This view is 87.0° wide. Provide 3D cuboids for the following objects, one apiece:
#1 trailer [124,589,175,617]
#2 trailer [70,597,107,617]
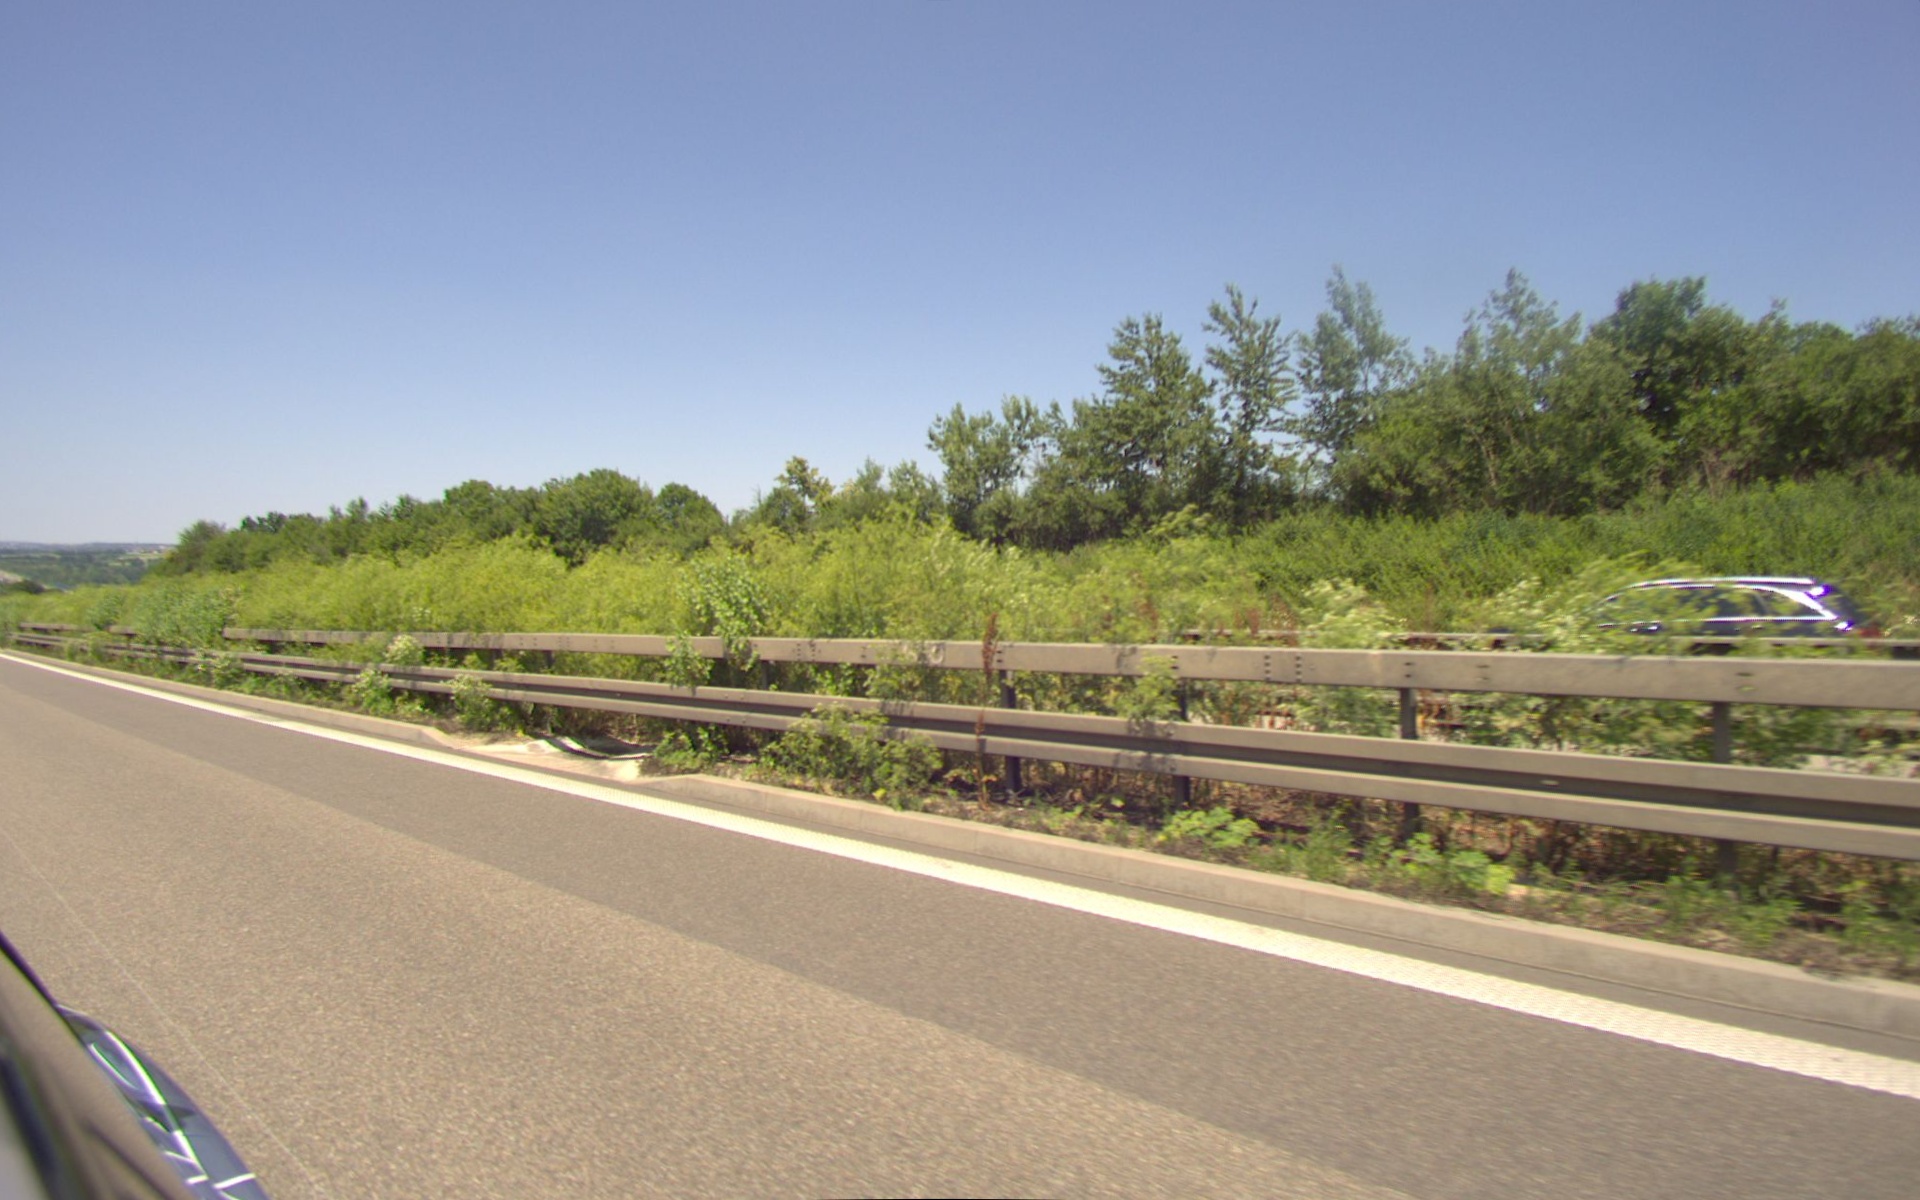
[{"bbox_3d":[-81.138,0.357,101.254,11.410,2.730,2.538,-1,-1,44],"label":"trailer"},{"bbox_3d":[-129.244,1.118,149.976,12.311,2.822,2.645,-1,-1,42],"label":"trailer"}]
